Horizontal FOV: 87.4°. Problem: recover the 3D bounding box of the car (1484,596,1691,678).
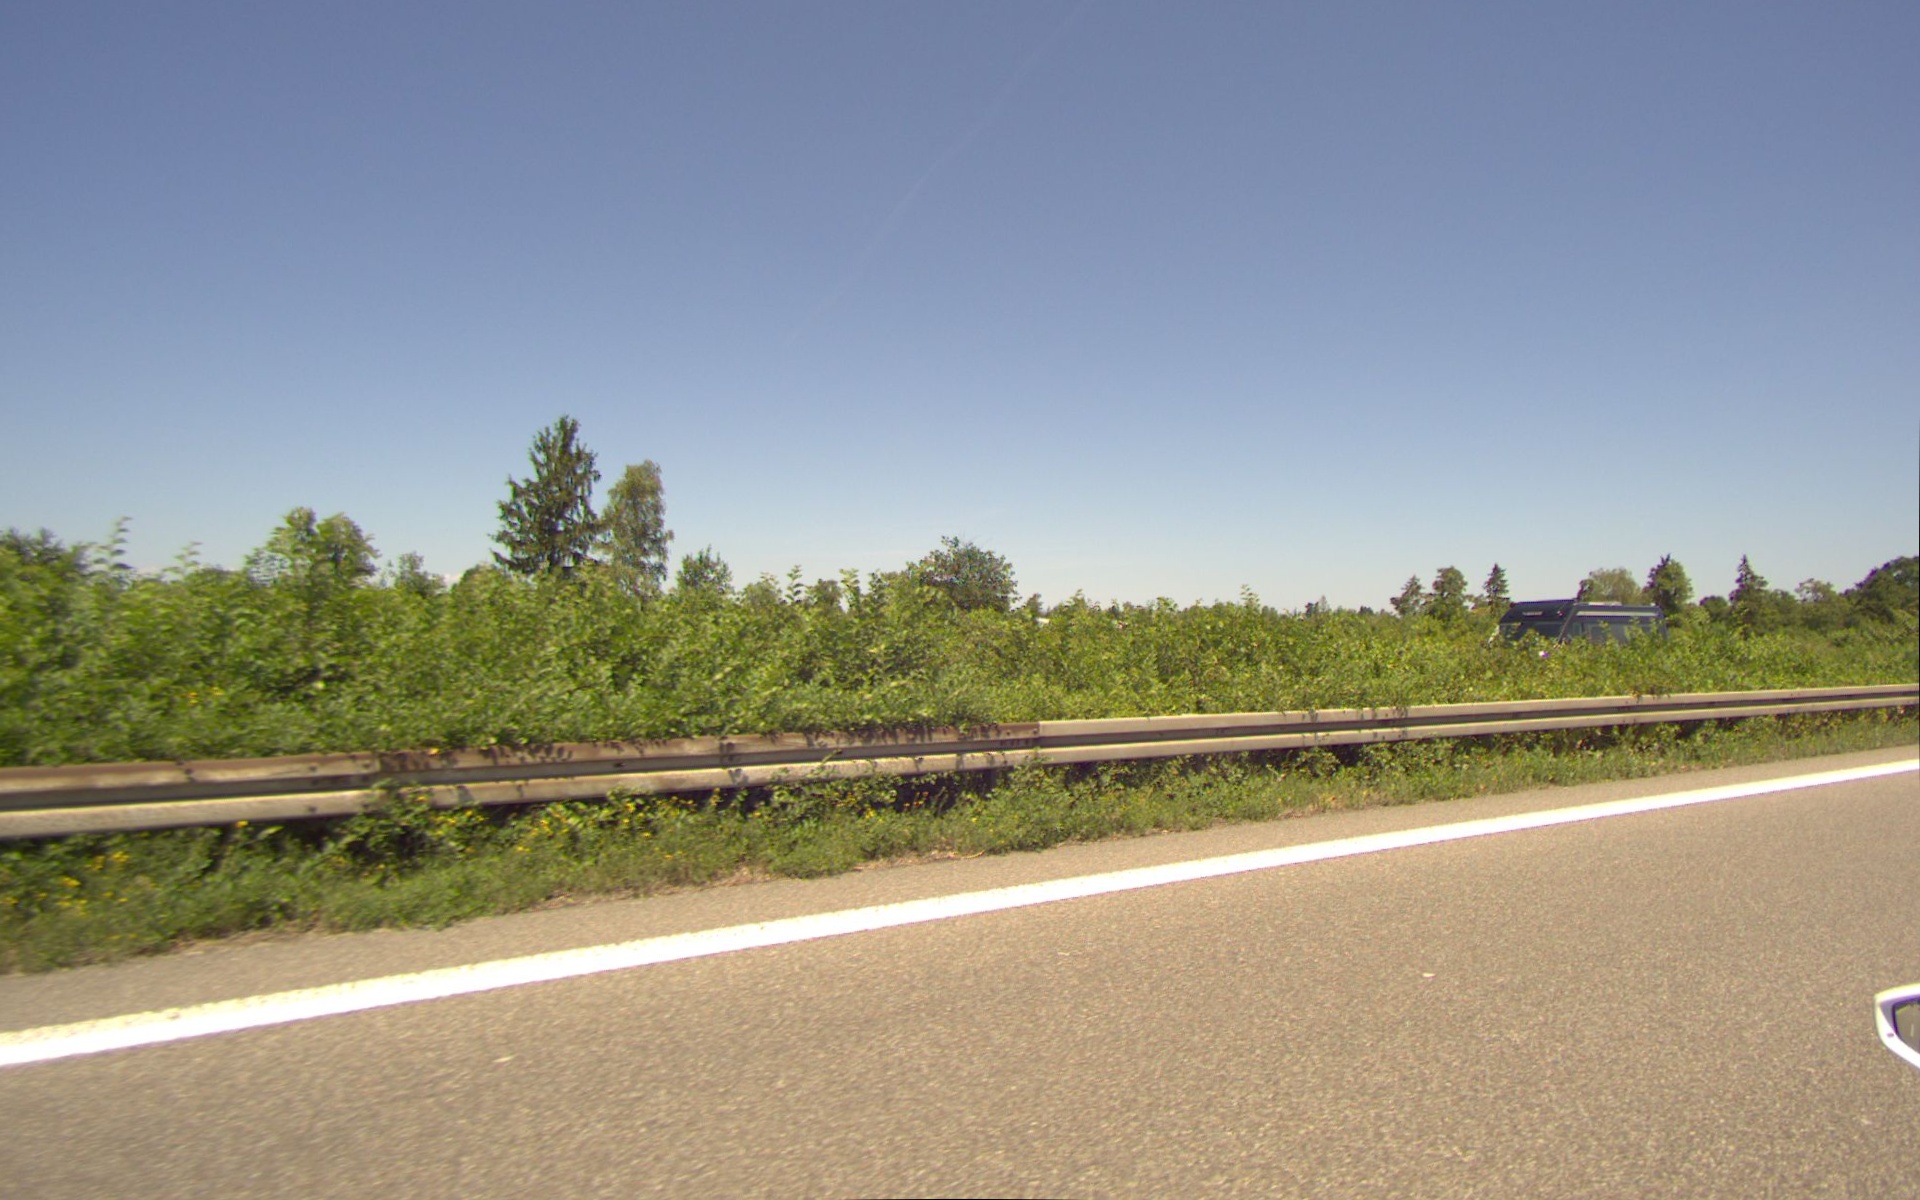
[{"bbox_3d":[16.263,0.932,25.976,5.454,1.924,2.247,2,0,-30],"label":"car"}]
